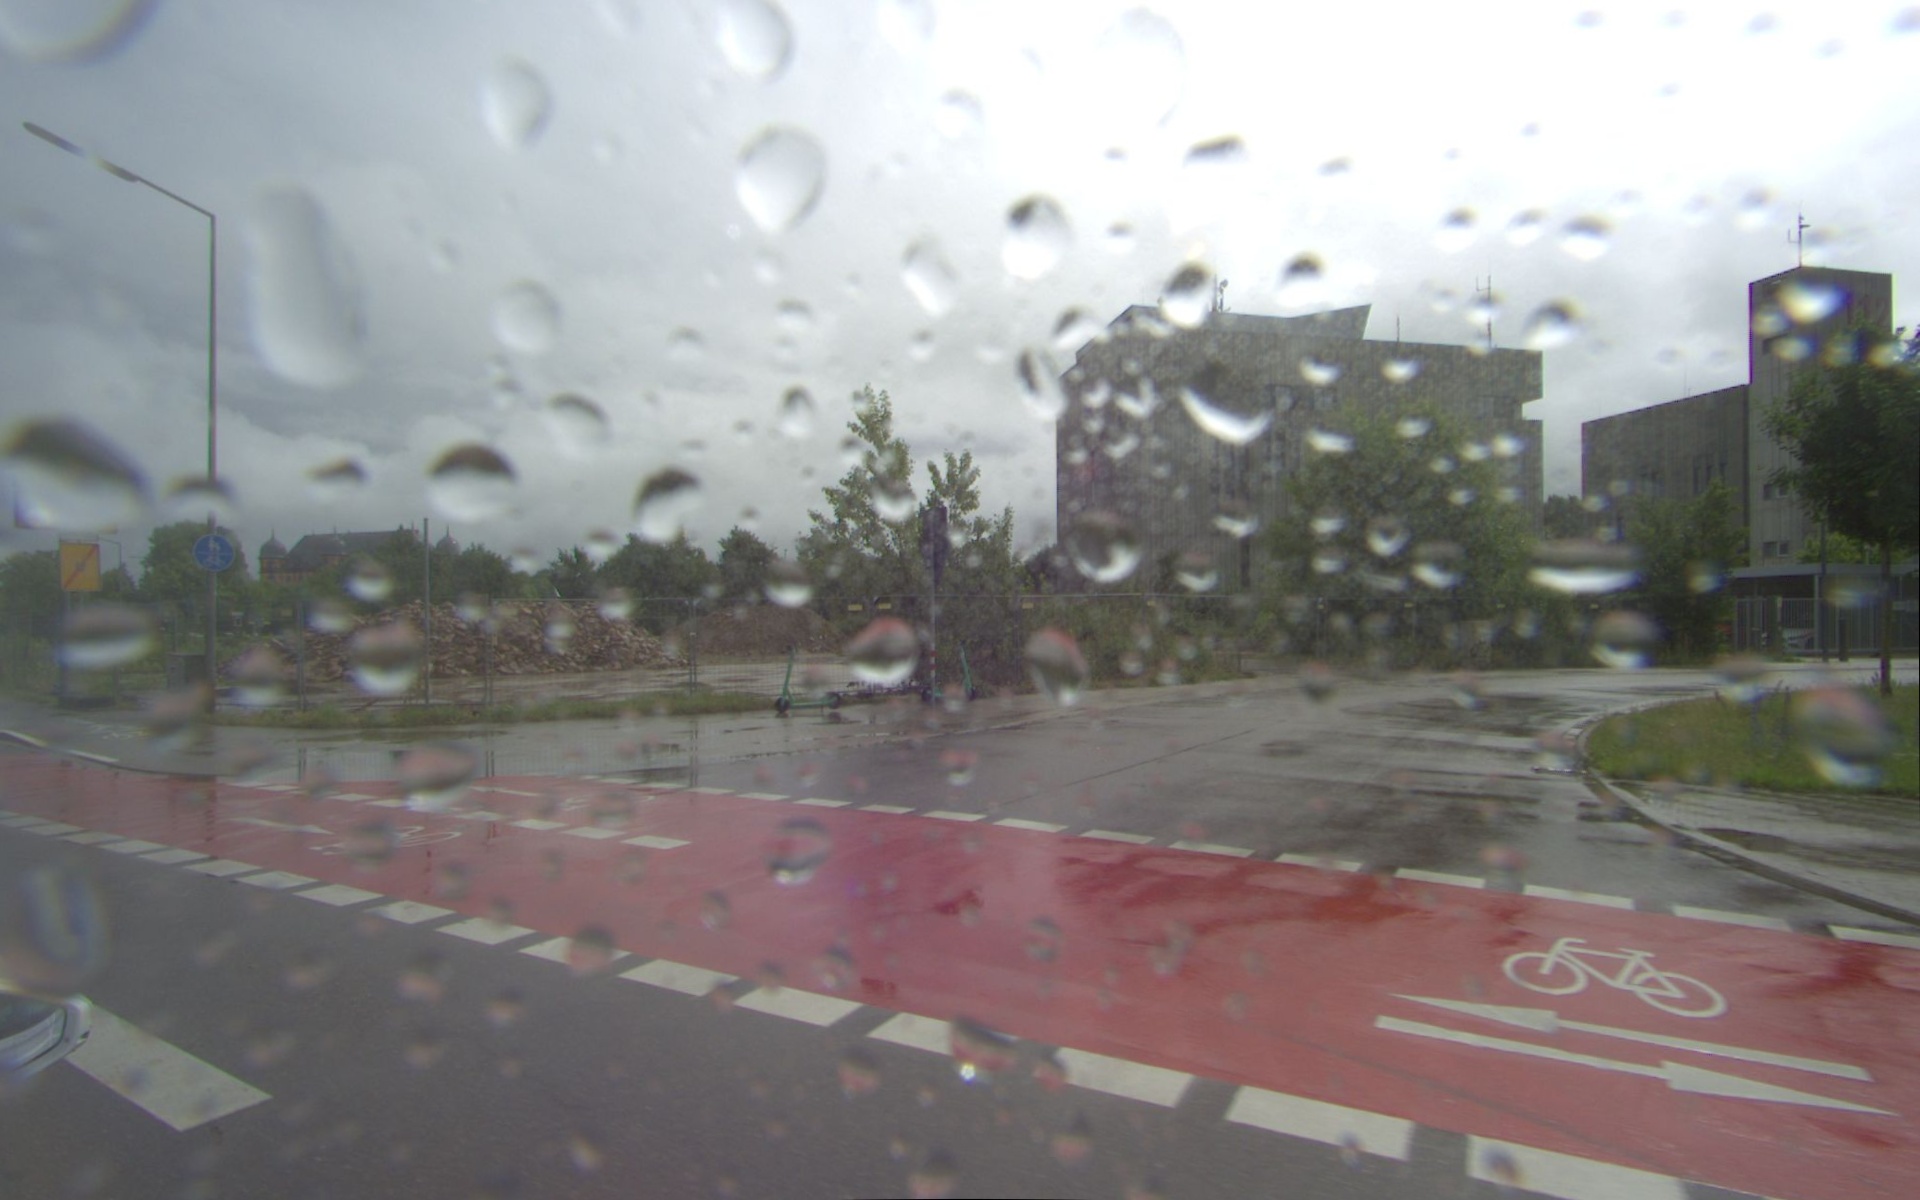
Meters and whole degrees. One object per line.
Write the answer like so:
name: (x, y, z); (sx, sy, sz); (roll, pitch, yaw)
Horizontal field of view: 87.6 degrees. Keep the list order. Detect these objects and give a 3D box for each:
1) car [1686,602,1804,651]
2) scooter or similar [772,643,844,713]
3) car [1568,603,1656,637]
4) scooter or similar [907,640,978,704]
car: (33.759, 1.130, 43.106); (3.927, 2.039, 1.998); (0, -1, -13)
scooter or similar: (-2.674, 1.356, 17.605); (1.175, 1.165, 0.481); (0, 0, -22)
car: (31.865, 0.997, 48.968); (3.583, 1.632, 1.549); (0, -1, -13)
scooter or similar: (-0.342, 1.361, 19.200); (1.175, 1.165, 0.745); (0, -1, -22)
